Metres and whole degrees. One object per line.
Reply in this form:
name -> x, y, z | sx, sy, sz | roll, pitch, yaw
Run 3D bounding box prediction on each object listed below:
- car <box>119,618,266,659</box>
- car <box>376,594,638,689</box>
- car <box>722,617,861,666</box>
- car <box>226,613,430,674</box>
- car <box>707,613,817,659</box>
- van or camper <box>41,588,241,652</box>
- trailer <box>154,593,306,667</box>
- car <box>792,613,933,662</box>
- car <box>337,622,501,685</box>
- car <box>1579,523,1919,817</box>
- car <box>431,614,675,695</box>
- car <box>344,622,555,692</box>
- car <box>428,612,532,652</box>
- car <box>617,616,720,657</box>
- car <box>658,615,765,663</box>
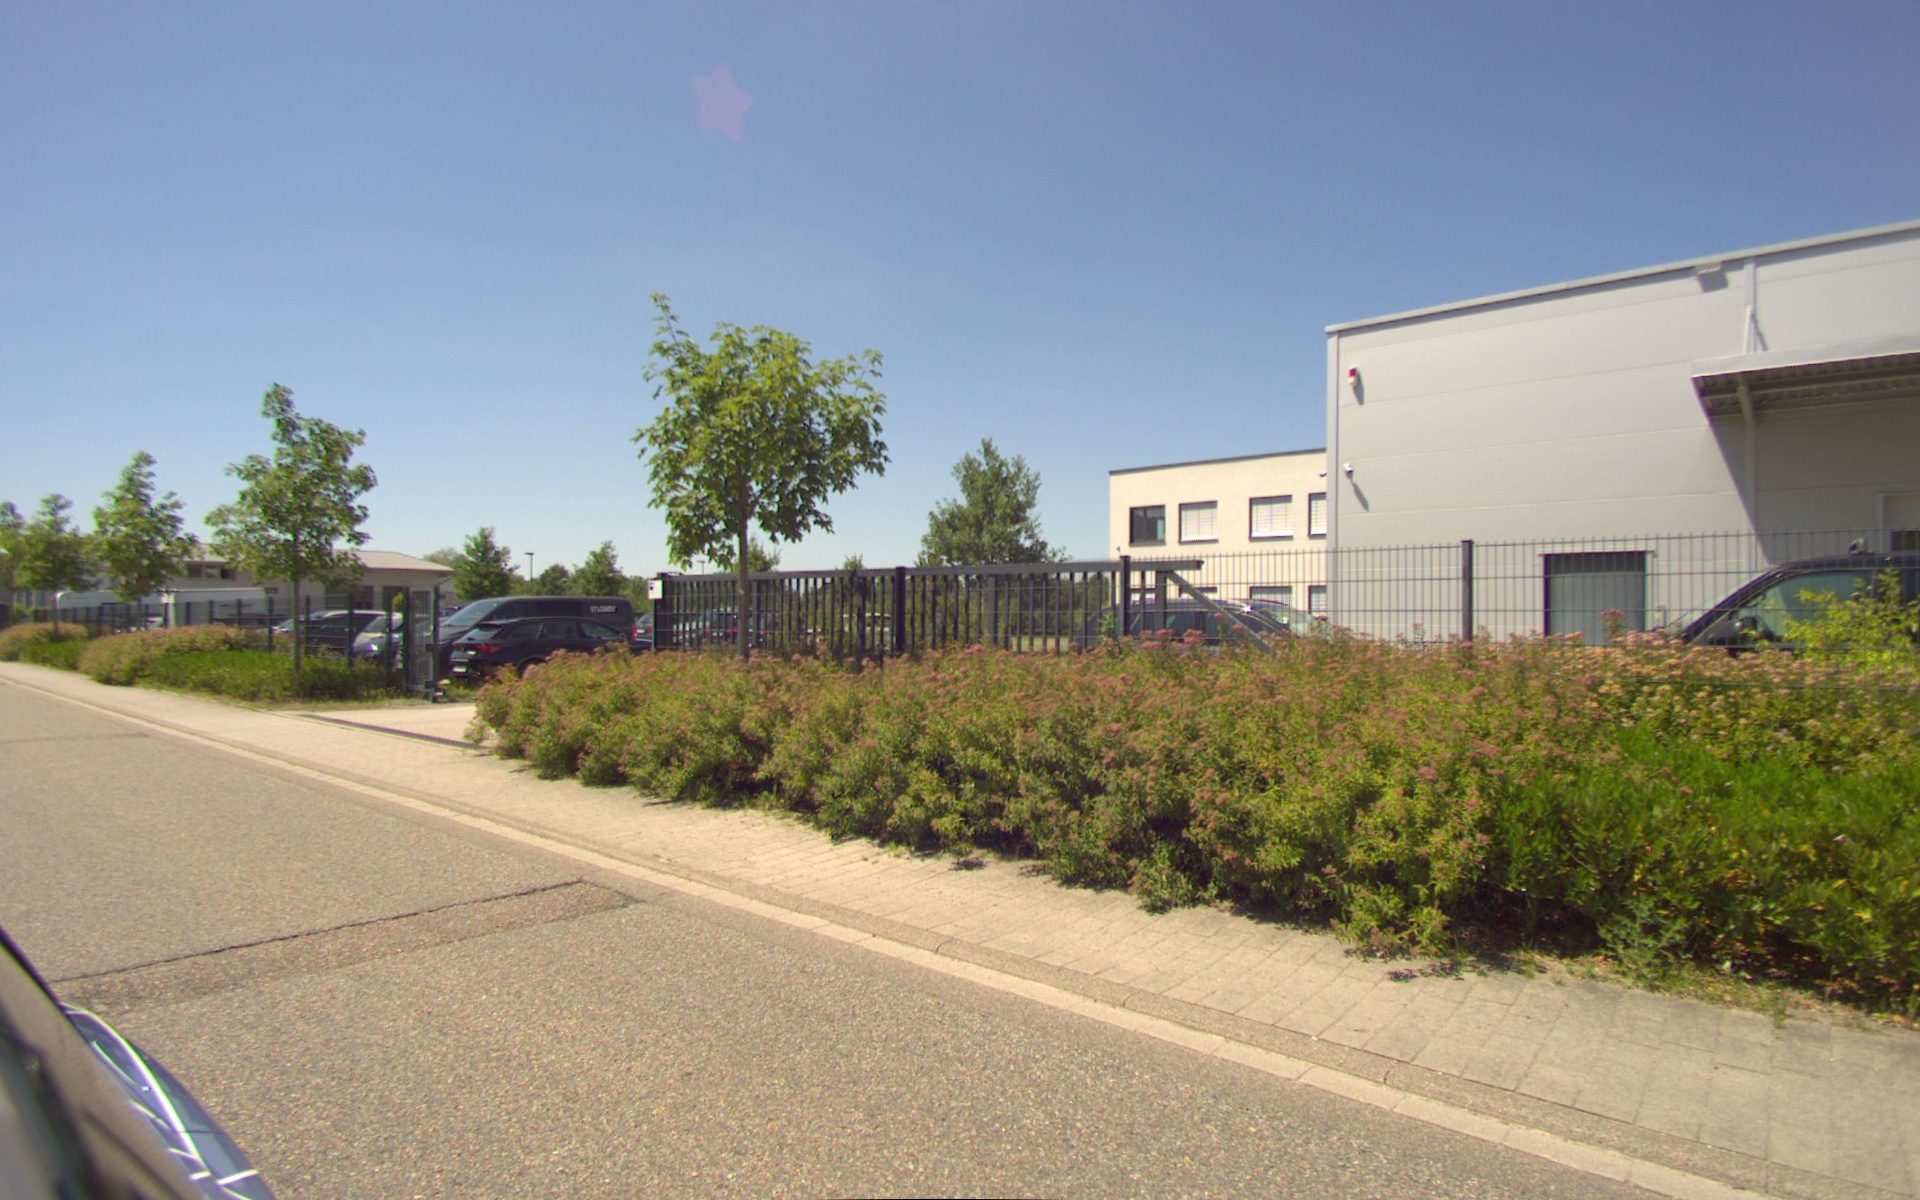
car -> -29.343, 1.438, 38.786 | 1.774, 1.463, 4.166 | -1, -2, 38
car -> -9.938, 0.847, 22.566 | 1.963, 1.865, 5.008 | -1, -1, 40
car -> -5.231, 1.260, 31.756 | 1.879, 1.425, 4.065 | -1, -1, 40
car -> -18.355, 1.221, 29.583 | 1.999, 1.641, 4.683 | -1, -2, 41
car -> -6.535, 1.149, 33.562 | 1.476, 1.425, 3.436 | -1, -1, 40
van or camper -> -37.075, 0.937, 46.030 | 2.574, 2.704, 6.705 | -1, -2, 41
trailer -> -25.179, 0.966, 35.015 | 1.724, 2.378, 3.949 | -1, 0, 38
car -> -2.853, 1.079, 30.293 | 1.879, 1.361, 4.065 | -1, -1, 40
car -> -14.113, 1.345, 26.504 | 1.903, 1.510, 3.336 | -1, -1, 40
car -> 7.730, 0.485, 7.852 | 4.693, 2.114, 1.979 | -1, 0, 43
car -> -8.224, 1.034, 20.746 | 1.963, 1.457, 4.261 | -1, -1, 40
car -> -12.203, 1.296, 24.382 | 1.903, 1.510, 4.150 | -1, -1, 40
car -> -22.527, 1.487, 47.567 | 1.998, 1.785, 3.947 | -1, -2, 39
car -> -10.720, 1.327, 37.337 | 1.476, 1.425, 3.436 | -1, -1, 40
car -> -8.588, 1.315, 35.196 | 1.476, 1.596, 3.436 | -1, -1, 40
